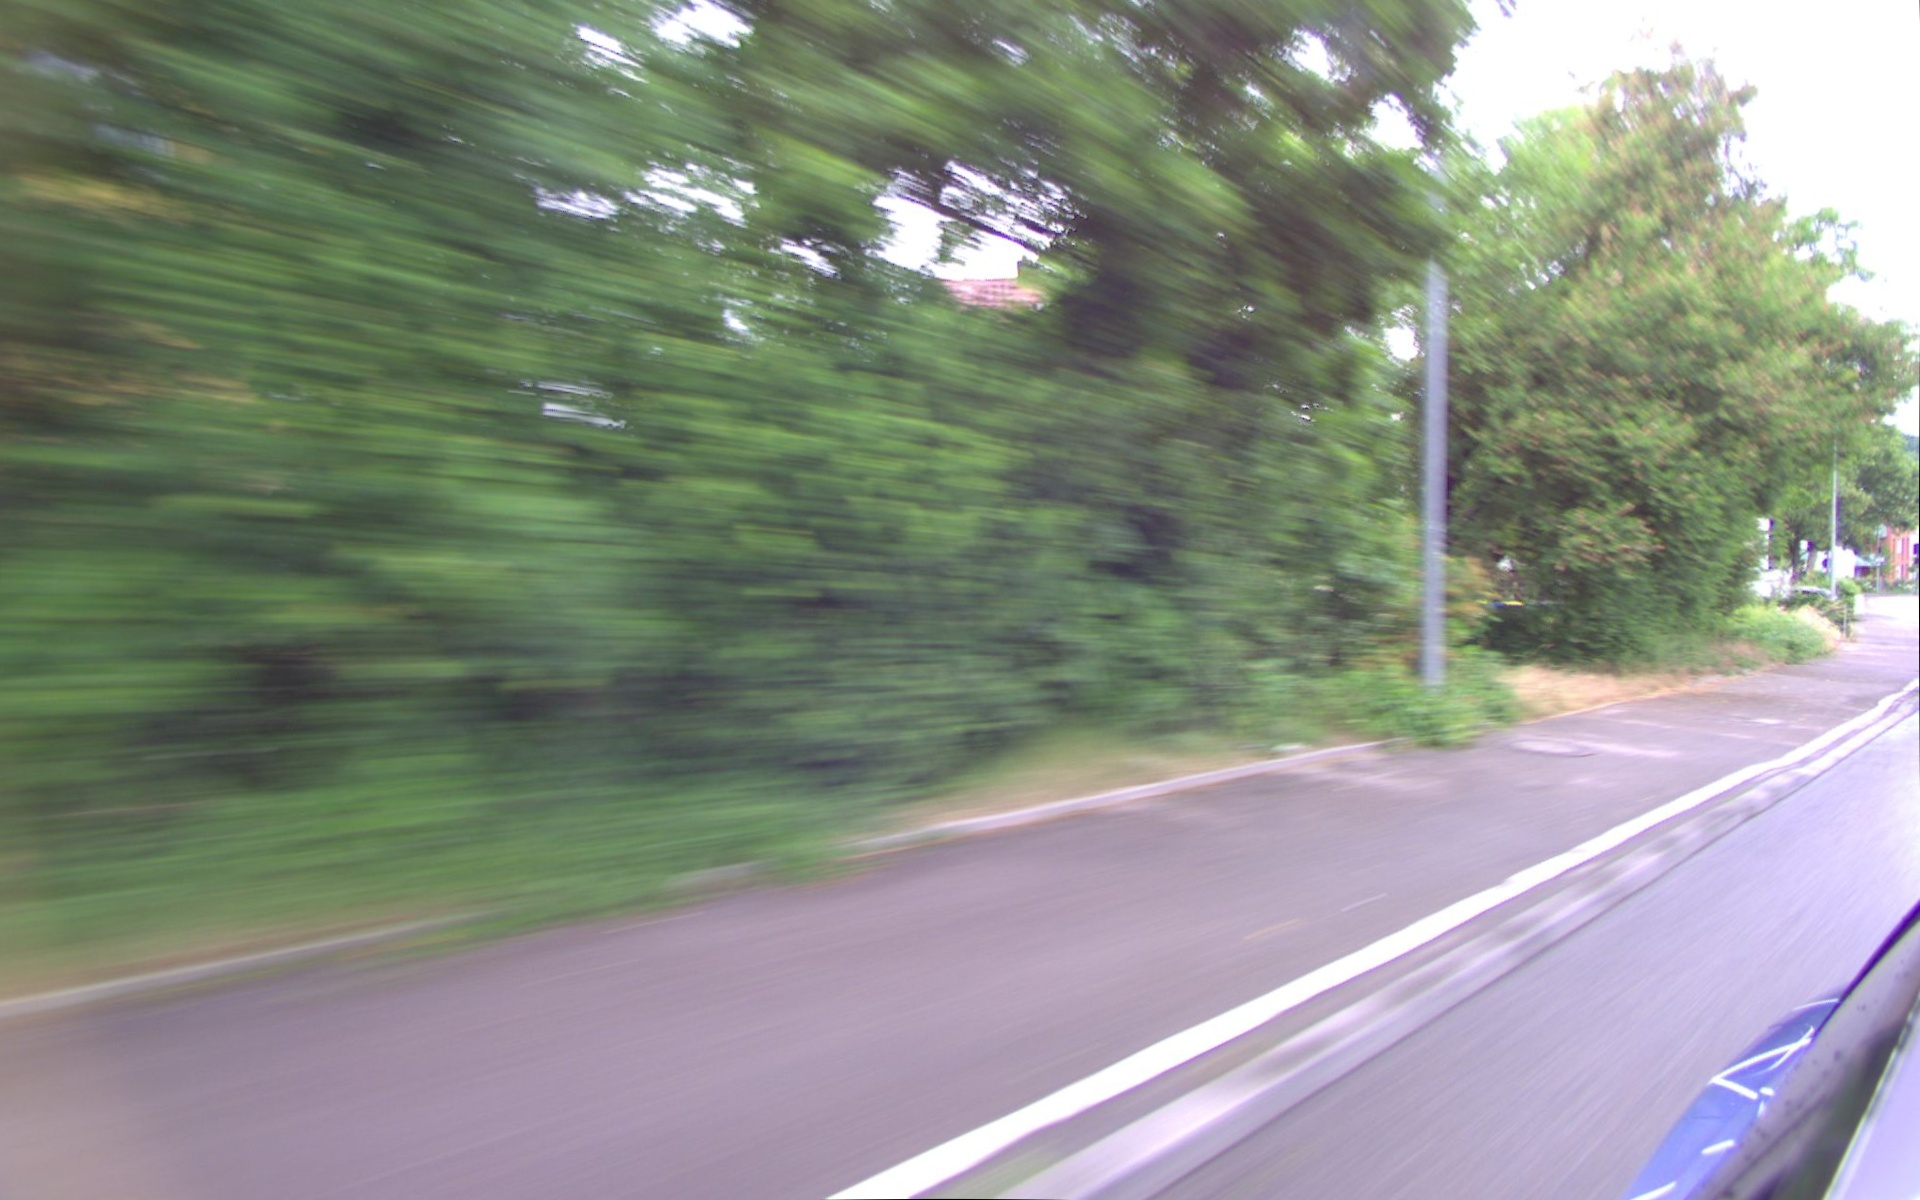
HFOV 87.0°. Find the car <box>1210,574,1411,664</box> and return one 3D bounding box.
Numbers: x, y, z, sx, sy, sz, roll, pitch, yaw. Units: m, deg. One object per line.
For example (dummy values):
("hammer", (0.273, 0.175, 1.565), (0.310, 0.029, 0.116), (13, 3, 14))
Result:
("car", (5.995, 0.275, 17.521), (3.111, 1.401, 1.684), (1, 2, 19))

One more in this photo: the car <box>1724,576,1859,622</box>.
("car", (34.878, -0.072, 42.516), (4.214, 1.771, 1.953), (2, 1, 44))

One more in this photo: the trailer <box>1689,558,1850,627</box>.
("trailer", (29.814, -0.299, 37.476), (4.521, 2.430, 1.925), (0, 1, 36))
